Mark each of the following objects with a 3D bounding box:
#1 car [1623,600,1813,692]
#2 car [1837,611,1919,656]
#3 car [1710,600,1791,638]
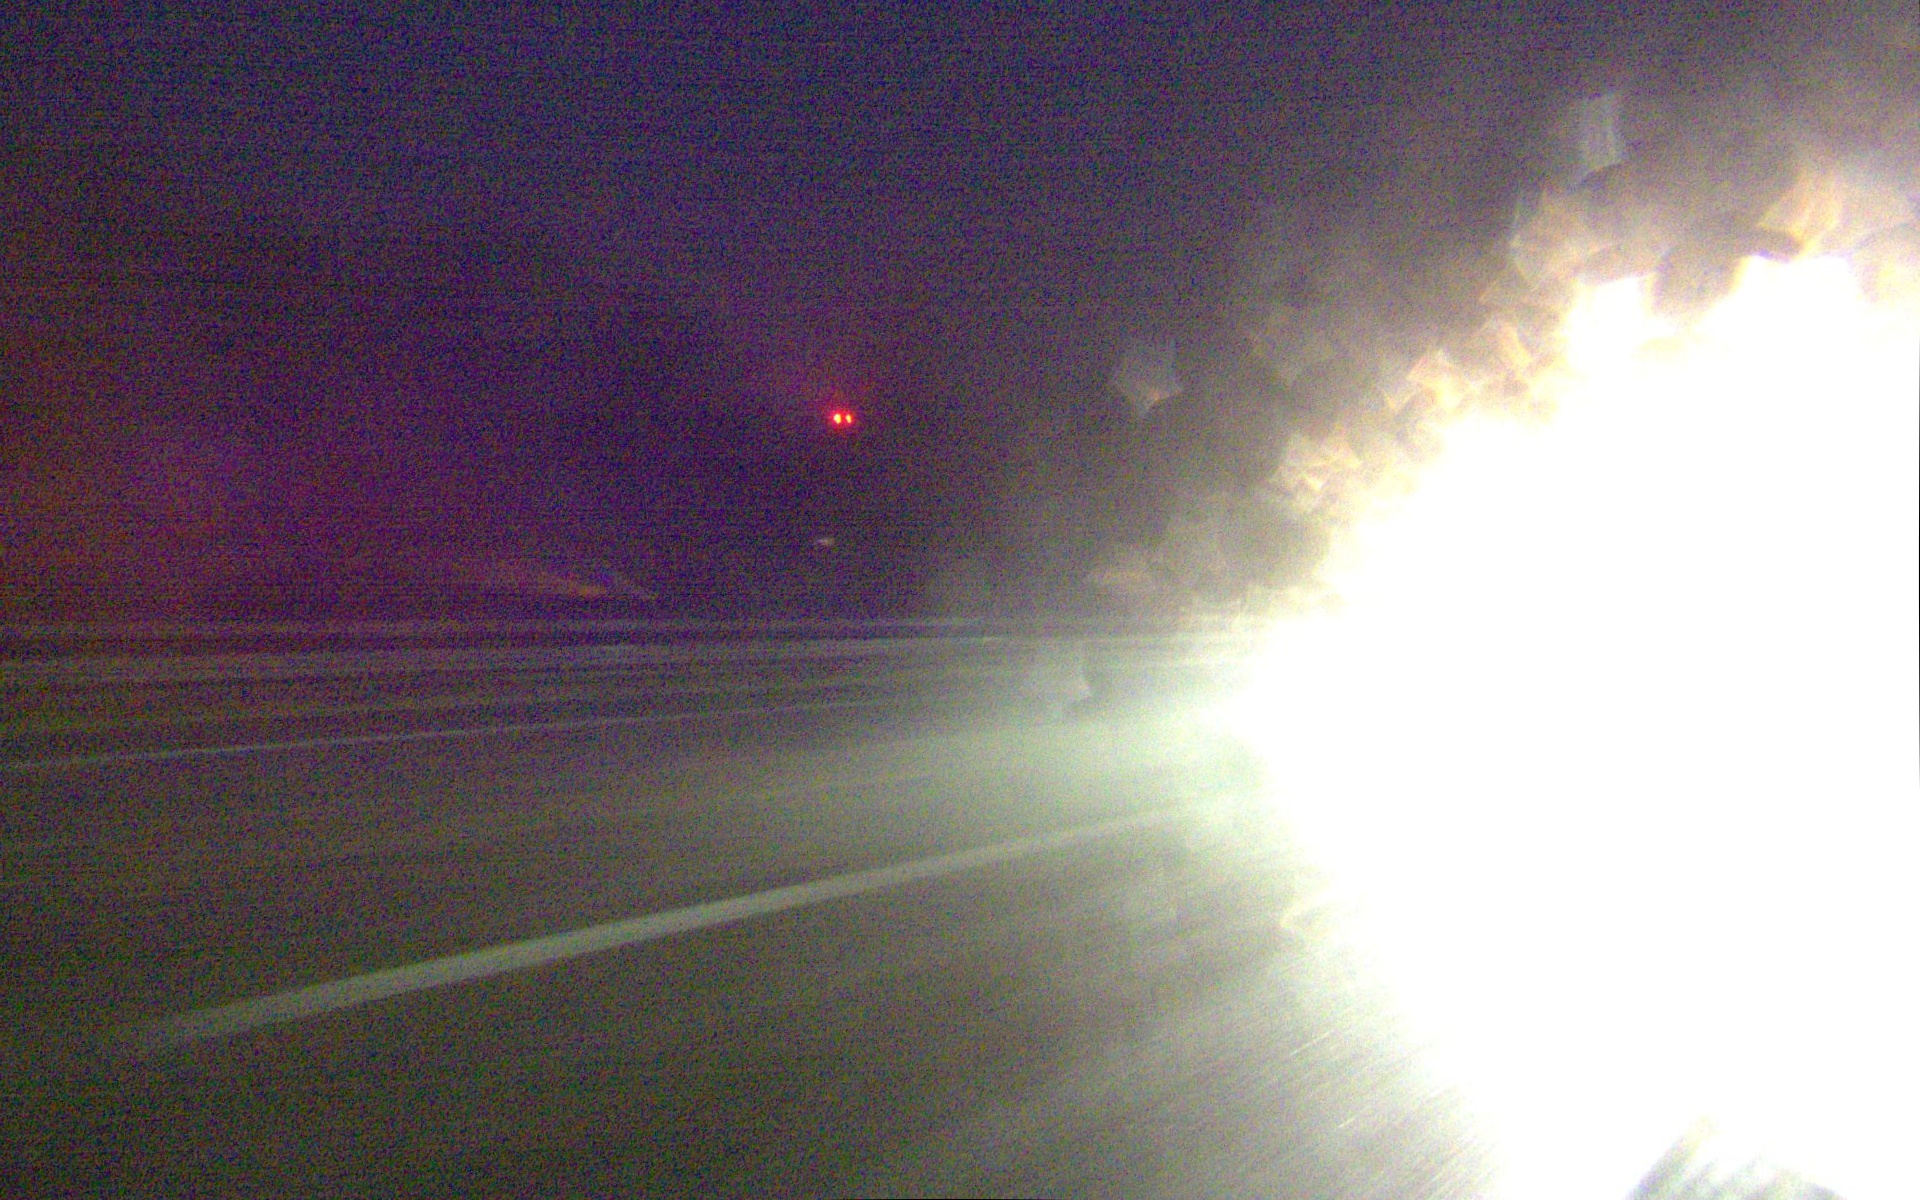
[{"bbox_3d":[14.682,0.775,19.484,4.930,1.538,2.060,0,0,-43],"label":"car"},{"bbox_3d":[34.676,1.211,37.990,4.259,1.467,1.998,-1,1,-40],"label":"car"},{"bbox_3d":[32.919,0.784,42.112,3.968,1.516,1.724,2,-1,-37],"label":"car"}]
